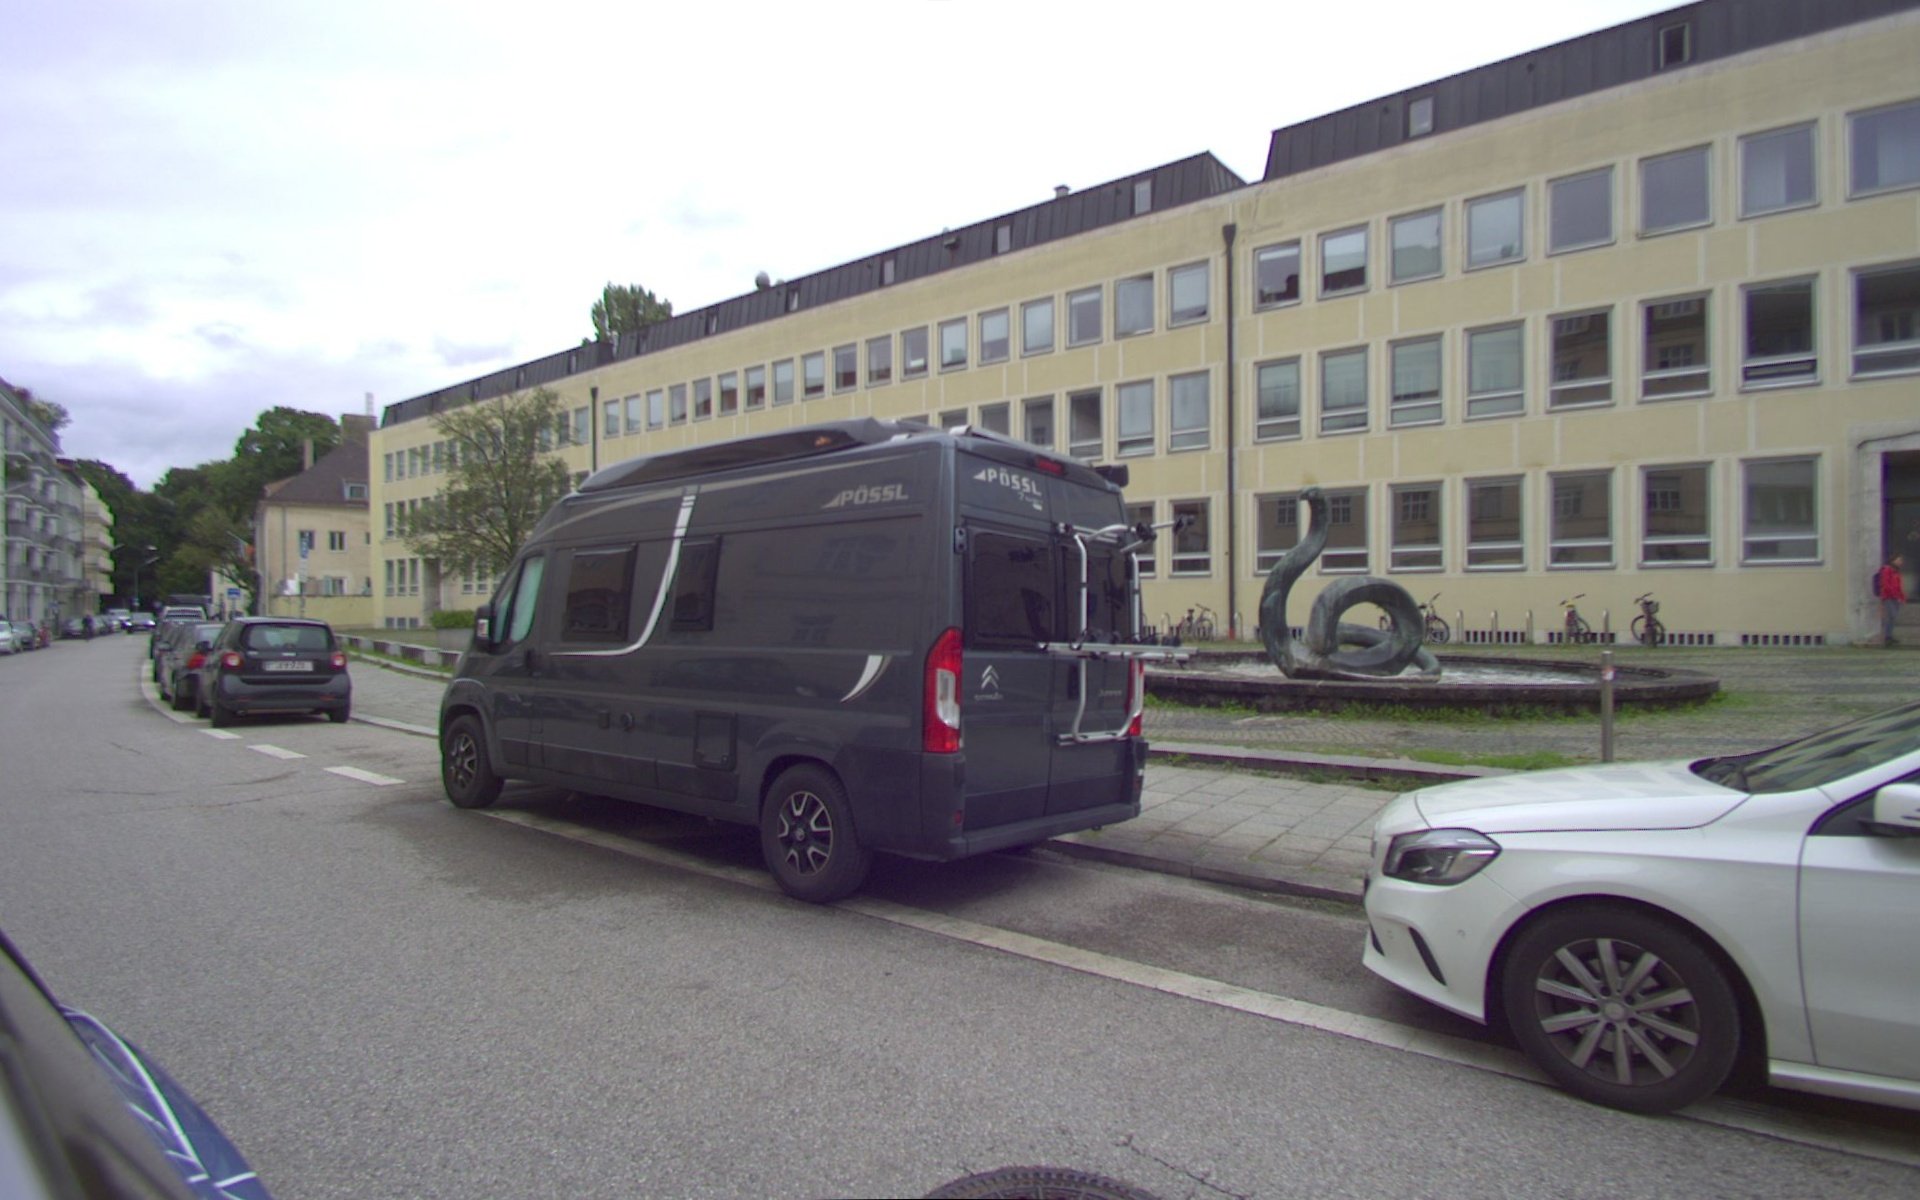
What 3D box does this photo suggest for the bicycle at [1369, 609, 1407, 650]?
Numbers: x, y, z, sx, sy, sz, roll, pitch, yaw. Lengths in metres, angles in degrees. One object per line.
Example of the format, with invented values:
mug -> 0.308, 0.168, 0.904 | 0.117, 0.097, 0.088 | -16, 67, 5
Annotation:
bicycle -> 10.800, 0.727, 25.523 | 0.437, 0.923, 1.884 | -1, 1, 37

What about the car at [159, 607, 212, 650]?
car -> -38.569, 1.382, 50.367 | 1.919, 1.991, 4.363 | 2, -1, -40

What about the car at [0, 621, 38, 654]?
car -> -44.615, 1.736, 47.483 | 1.716, 1.385, 4.030 | -3, 1, -38

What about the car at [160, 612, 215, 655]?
car -> -32.462, 1.378, 42.488 | 1.718, 1.701, 4.131 | 2, -1, -39

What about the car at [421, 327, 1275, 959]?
car -> -1.244, 0.222, 6.964 | 6.205, 2.594, 2.122 | -1, -2, 40

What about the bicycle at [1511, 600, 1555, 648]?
bicycle -> 13.121, 0.530, 23.146 | 0.532, 0.986, 1.859 | -1, 1, 40

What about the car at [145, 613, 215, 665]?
car -> -26.623, 1.280, 34.497 | 1.718, 1.557, 4.090 | -3, 1, -39

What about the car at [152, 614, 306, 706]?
car -> -12.894, 0.981, 17.747 | 1.700, 1.374, 4.218 | 3, -2, -42

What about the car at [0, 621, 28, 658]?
car -> -41.565, 1.717, 43.523 | 1.813, 1.469, 4.030 | -3, 1, -38

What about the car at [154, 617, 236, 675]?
car -> -22.486, 1.290, 29.708 | 1.699, 1.541, 4.007 | 2, -1, -40

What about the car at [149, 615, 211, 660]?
car -> -29.185, 1.365, 37.823 | 1.718, 1.478, 3.693 | -3, 1, -39

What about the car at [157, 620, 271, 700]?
car -> -15.868, 1.208, 21.454 | 1.699, 1.492, 3.760 | 2, -1, -40

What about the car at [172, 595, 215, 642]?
car -> -46.259, 1.107, 61.122 | 1.967, 2.738, 4.970 | 1, -1, -37

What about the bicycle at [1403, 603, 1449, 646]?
bicycle -> 11.410, 0.588, 24.735 | 0.532, 0.947, 1.859 | -1, 1, 40

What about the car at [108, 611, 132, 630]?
car -> -83.279, 1.989, 100.361 | 1.614, 1.749, 3.888 | -2, 1, -37

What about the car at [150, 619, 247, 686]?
car -> -19.148, 1.246, 25.383 | 1.699, 1.492, 4.212 | 2, -1, -40

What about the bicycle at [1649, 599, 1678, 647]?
bicycle -> 15.182, 0.482, 21.828 | 0.437, 0.923, 1.884 | -1, 1, 37

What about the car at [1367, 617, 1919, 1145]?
car -> 3.615, 0.793, 3.081 | 4.132, 1.398, 1.811 | -1, -4, 35

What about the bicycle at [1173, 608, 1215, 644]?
bicycle -> 6.748, 0.730, 29.177 | 0.437, 0.923, 1.884 | -1, 1, 37

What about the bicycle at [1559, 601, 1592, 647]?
bicycle -> 13.784, 0.513, 22.651 | 0.437, 0.923, 1.884 | -1, 1, 37

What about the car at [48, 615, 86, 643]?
car -> -62.107, 1.999, 70.429 | 1.614, 1.749, 3.888 | -2, 1, -37

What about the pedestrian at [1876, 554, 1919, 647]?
pedestrian -> 18.307, 0.004, 19.657 | 0.645, 1.757, 0.708 | -1, 1, 34

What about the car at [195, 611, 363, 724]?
car -> -10.048, 0.921, 14.875 | 1.646, 1.471, 2.872 | 3, -2, -41
